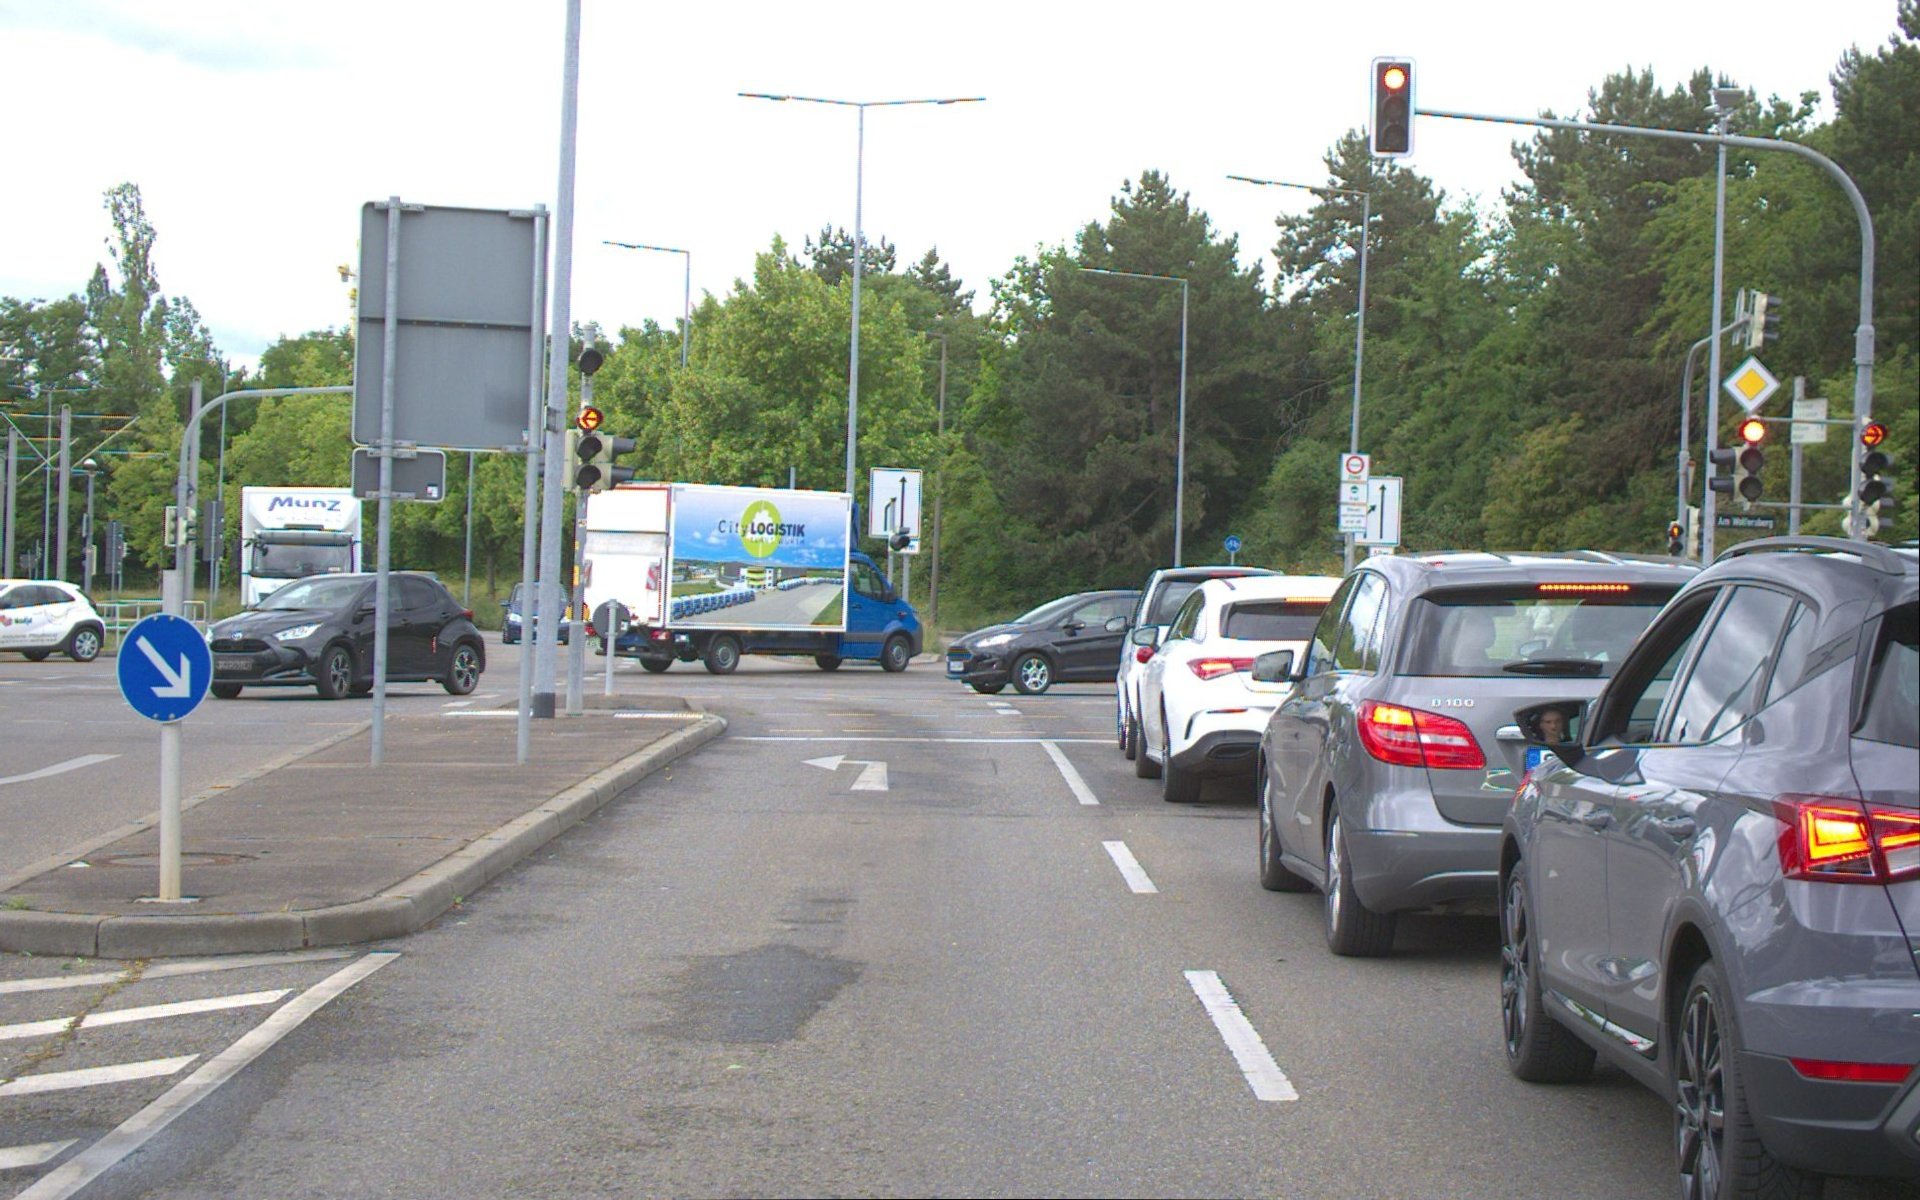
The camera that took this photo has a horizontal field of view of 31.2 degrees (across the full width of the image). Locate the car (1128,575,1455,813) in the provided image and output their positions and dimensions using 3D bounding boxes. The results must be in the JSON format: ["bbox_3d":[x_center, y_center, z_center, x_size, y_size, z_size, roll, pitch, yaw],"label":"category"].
[{"bbox_3d":[2.098,0.551,22.848,1.721,1.417,4.357,0,0,0],"label":"car"}]

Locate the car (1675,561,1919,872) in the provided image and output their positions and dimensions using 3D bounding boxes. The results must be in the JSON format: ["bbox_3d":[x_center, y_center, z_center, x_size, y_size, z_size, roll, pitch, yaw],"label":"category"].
[{"bbox_3d":[5.067,0.540,17.921,1.825,1.430,4.213,0,0,1],"label":"car"}]

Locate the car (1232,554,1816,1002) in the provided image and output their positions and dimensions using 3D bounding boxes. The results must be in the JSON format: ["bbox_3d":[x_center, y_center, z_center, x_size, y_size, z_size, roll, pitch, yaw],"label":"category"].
[{"bbox_3d":[2.126,0.590,14.066,1.799,1.518,4.187,0,1,2],"label":"car"}]

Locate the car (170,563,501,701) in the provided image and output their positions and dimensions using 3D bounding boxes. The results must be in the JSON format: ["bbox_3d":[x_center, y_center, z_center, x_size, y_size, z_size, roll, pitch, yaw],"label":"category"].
[{"bbox_3d":[-7.291,0.337,40.469,1.596,1.491,3.932,1,2,32],"label":"car"}]

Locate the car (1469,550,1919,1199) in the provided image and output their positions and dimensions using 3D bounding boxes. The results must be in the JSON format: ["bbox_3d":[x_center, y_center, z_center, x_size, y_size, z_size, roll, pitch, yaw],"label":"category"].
[{"bbox_3d":[2.354,0.629,8.355,1.698,1.481,4.000,1,1,1],"label":"car"}]

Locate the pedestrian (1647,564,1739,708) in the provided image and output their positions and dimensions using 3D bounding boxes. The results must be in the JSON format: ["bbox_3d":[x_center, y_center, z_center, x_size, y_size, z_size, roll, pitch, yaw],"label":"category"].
[{"bbox_3d":[8.055,0.390,37.810,0.864,1.555,0.518,1,1,-2],"label":"pedestrian"}]

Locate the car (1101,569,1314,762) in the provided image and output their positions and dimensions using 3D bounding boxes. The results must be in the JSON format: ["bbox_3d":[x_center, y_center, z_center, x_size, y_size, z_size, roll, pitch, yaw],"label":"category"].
[{"bbox_3d":[1.993,0.506,28.232,1.535,1.499,2.670,0,0,0],"label":"car"}]

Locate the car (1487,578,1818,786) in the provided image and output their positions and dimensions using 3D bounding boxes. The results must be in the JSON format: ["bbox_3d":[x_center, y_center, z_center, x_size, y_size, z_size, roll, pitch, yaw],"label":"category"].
[{"bbox_3d":[4.996,0.545,25.272,1.545,1.399,4.000,0,0,-1],"label":"car"}]

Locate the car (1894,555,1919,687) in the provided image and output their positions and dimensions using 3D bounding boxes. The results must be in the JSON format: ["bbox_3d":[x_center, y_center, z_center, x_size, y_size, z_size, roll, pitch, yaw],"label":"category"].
[{"bbox_3d":[16.426,0.323,49.479,5.419,1.809,2.000,1,3,3],"label":"car"}]

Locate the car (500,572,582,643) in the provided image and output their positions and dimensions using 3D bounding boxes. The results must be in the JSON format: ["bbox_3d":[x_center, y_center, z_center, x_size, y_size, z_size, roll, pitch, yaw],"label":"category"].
[{"bbox_3d":[-10.629,0.170,87.083,1.915,1.570,4.002,0,3,-9],"label":"car"}]

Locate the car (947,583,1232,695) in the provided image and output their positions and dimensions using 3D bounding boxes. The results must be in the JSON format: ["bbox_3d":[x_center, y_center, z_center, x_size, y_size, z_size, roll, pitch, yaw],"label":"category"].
[{"bbox_3d":[1.763,0.528,47.607,3.764,1.475,1.640,0,1,-5],"label":"car"}]

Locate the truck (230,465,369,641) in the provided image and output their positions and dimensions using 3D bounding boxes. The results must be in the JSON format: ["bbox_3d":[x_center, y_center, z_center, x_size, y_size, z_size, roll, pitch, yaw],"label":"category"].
[{"bbox_3d":[-14.692,-1.021,76.980,2.659,3.637,9.505,1,0,-9],"label":"truck"}]

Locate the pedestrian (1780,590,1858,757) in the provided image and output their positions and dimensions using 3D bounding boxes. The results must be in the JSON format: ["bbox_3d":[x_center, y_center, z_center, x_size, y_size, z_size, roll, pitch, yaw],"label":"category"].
[{"bbox_3d":[7.549,0.637,30.209,0.611,1.448,0.353,1,0,9],"label":"pedestrian"}]

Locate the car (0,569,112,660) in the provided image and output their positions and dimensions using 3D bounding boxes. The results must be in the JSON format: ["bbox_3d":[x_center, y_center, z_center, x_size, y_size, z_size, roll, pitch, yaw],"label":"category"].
[{"bbox_3d":[-17.568,0.272,62.788,1.779,1.502,3.738,3,4,39],"label":"car"}]

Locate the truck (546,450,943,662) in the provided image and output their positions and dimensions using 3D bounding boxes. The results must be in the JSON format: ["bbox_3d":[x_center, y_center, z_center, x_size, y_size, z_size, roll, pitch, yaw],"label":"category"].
[{"bbox_3d":[-3.802,-0.750,62.337,2.690,3.586,7.245,3,2,42],"label":"truck"}]
